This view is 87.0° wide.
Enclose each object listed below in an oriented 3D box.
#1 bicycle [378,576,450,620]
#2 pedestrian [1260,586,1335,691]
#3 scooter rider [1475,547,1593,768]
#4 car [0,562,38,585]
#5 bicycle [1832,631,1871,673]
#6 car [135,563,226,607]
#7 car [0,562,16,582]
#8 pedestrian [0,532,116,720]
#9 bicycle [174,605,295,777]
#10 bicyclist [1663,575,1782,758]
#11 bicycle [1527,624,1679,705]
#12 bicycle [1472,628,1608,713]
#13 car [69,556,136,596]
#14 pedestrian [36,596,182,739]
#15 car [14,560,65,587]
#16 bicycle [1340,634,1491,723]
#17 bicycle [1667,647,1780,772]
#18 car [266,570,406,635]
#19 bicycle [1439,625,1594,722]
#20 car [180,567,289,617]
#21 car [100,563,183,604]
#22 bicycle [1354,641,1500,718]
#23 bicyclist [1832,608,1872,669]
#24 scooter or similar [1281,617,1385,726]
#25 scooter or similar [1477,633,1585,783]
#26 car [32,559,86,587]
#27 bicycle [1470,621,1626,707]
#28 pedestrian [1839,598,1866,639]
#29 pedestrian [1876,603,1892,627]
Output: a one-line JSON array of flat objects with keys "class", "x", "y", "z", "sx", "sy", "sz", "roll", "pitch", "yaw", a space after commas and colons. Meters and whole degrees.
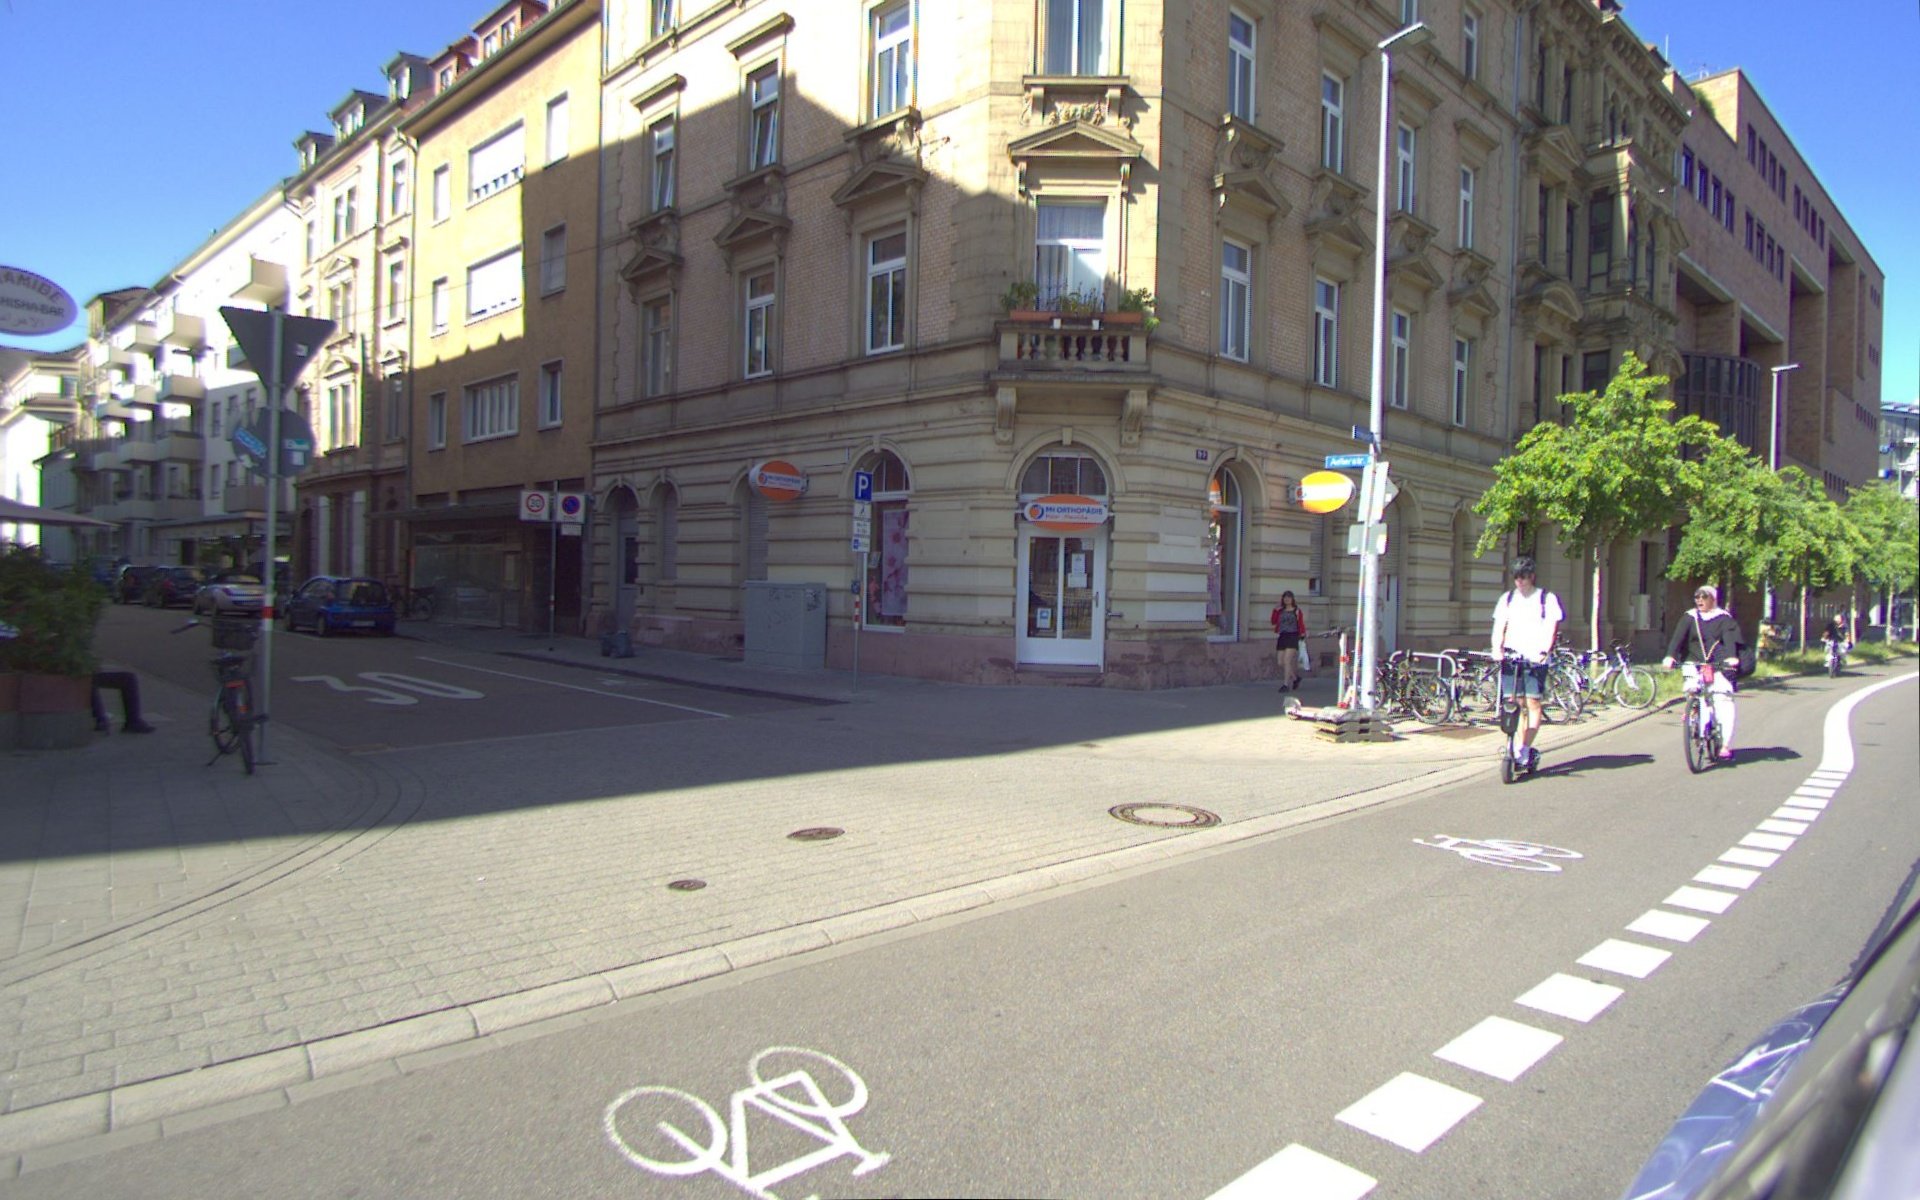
[{"class": "bicycle", "x": -15.666, "y": -0.063, "z": 29.054, "sx": 1.988, "sy": 1.193, "sz": 0.629, "roll": 2, "pitch": 0, "yaw": 19}, {"class": "pedestrian", "x": 5.242, "y": 0.574, "z": 15.716, "sx": 0.911, "sy": 1.561, "sz": 0.710, "roll": 1, "pitch": 1, "yaw": -41}, {"class": "scooter rider", "x": 5.219, "y": 0.499, "z": 9.196, "sx": 0.885, "sy": 1.884, "sz": 0.667, "roll": 1, "pitch": -2, "yaw": -41}, {"class": "car", "x": -60.427, "y": -1.704, "z": 64.722, "sx": 3.759, "sy": 1.450, "sz": 1.775, "roll": 2, "pitch": 1, "yaw": 42}, {"class": "bicycle", "x": 23.237, "y": 1.334, "z": 26.372, "sx": 1.481, "sy": 1.040, "sz": 0.558, "roll": 1, "pitch": -1, "yaw": -42}, {"class": "car", "x": -27.112, "y": -0.533, "z": 35.181, "sx": 3.757, "sy": 1.450, "sz": 1.776, "roll": 2, "pitch": 1, "yaw": 40}, {"class": "car", "x": -71.766, "y": -2.100, "z": 75.433, "sx": 3.759, "sy": 1.450, "sz": 1.775, "roll": 2, "pitch": 1, "yaw": 42}, {"class": "pedestrian", "x": -9.173, "y": 0.245, "z": 10.240, "sx": 0.906, "sy": 1.783, "sz": 0.854, "roll": 0, "pitch": -1, "yaw": 43}, {"class": "bicycle", "x": -5.885, "y": 0.682, "z": 8.217, "sx": 0.641, "sy": 1.186, "sz": 1.823, "roll": 5, "pitch": -2, "yaw": -36}, {"class": "bicyclist", "x": 7.645, "y": 0.635, "z": 10.150, "sx": 0.853, "sy": 1.733, "sz": 0.780, "roll": 1, "pitch": -2, "yaw": -41}, {"class": "bicycle", "x": 10.689, "y": 1.035, "z": 16.855, "sx": 1.993, "sy": 1.106, "sz": 0.835, "roll": 5, "pitch": 3, "yaw": 40}, {"class": "bicycle", "x": 8.662, "y": 1.020, "z": 15.169, "sx": 0.595, "sy": 1.058, "sz": 1.605, "roll": 1, "pitch": 3, "yaw": -37}, {"class": "car", "x": -38.429, "y": -1.088, "z": 45.347, "sx": 3.758, "sy": 1.686, "sz": 1.775, "roll": 2, "pitch": 1, "yaw": 42}, {"class": "pedestrian", "x": -7.838, "y": 0.580, "z": 9.325, "sx": 0.849, "sy": 1.230, "sz": 0.919, "roll": 0, "pitch": 0, "yaw": 43}, {"class": "car", "x": -52.262, "y": -1.517, "z": 57.460, "sx": 3.759, "sy": 1.450, "sz": 1.775, "roll": 2, "pitch": 1, "yaw": 42}, {"class": "bicycle", "x": 5.784, "y": 0.968, "z": 12.948, "sx": 0.595, "sy": 0.955, "sz": 1.677, "roll": 2, "pitch": 1, "yaw": -33}, {"class": "bicycle", "x": 7.671, "y": 1.047, "z": 10.141, "sx": 1.761, "sy": 1.106, "sz": 0.558, "roll": 1, "pitch": -1, "yaw": -42}, {"class": "car", "x": -15.531, "y": 0.036, "z": 25.129, "sx": 3.983, "sy": 1.438, "sz": 1.775, "roll": 2, "pitch": -1, "yaw": 40}, {"class": "bicycle", "x": 7.654, "y": 0.972, "z": 13.993, "sx": 0.595, "sy": 1.114, "sz": 1.729, "roll": 1, "pitch": 3, "yaw": -37}, {"class": "car", "x": -22.189, "y": -0.250, "z": 30.903, "sx": 3.983, "sy": 1.351, "sz": 1.775, "roll": 2, "pitch": -1, "yaw": 40}, {"class": "car", "x": -30.979, "y": -0.630, "z": 38.289, "sx": 3.757, "sy": 1.450, "sz": 1.776, "roll": 2, "pitch": 1, "yaw": 40}, {"class": "bicycle", "x": 6.187, "y": 1.032, "z": 13.485, "sx": 0.595, "sy": 0.831, "sz": 1.677, "roll": 2, "pitch": 1, "yaw": -33}, {"class": "bicyclist", "x": 23.275, "y": 0.990, "z": 26.393, "sx": 0.893, "sy": 1.557, "sz": 0.658, "roll": 1, "pitch": -2, "yaw": -41}, {"class": "scooter or similar", "x": 4.518, "y": 0.842, "z": 12.308, "sx": 0.411, "sy": 1.204, "sz": 1.115, "roll": 2, "pitch": 1, "yaw": -33}, {"class": "scooter or similar", "x": 5.173, "y": 0.936, "z": 9.154, "sx": 1.150, "sy": 1.242, "sz": 0.491, "roll": 1, "pitch": -2, "yaw": -41}, {"class": "car", "x": -48.070, "y": -1.439, "z": 53.965, "sx": 3.759, "sy": 1.450, "sz": 1.775, "roll": 2, "pitch": 1, "yaw": 42}, {"class": "bicycle", "x": 9.419, "y": 0.985, "z": 16.275, "sx": 0.697, "sy": 1.142, "sz": 2.000, "roll": 1, "pitch": 3, "yaw": -39}, {"class": "pedestrian", "x": 42.602, "y": 0.857, "z": 48.287, "sx": 1.087, "sy": 1.906, "sz": 0.789, "roll": 1, "pitch": 1, "yaw": -41}, {"class": "pedestrian", "x": 58.468, "y": 0.966, "z": 64.011, "sx": 0.723, "sy": 1.505, "sz": 0.633, "roll": 1, "pitch": 1, "yaw": -41}]
